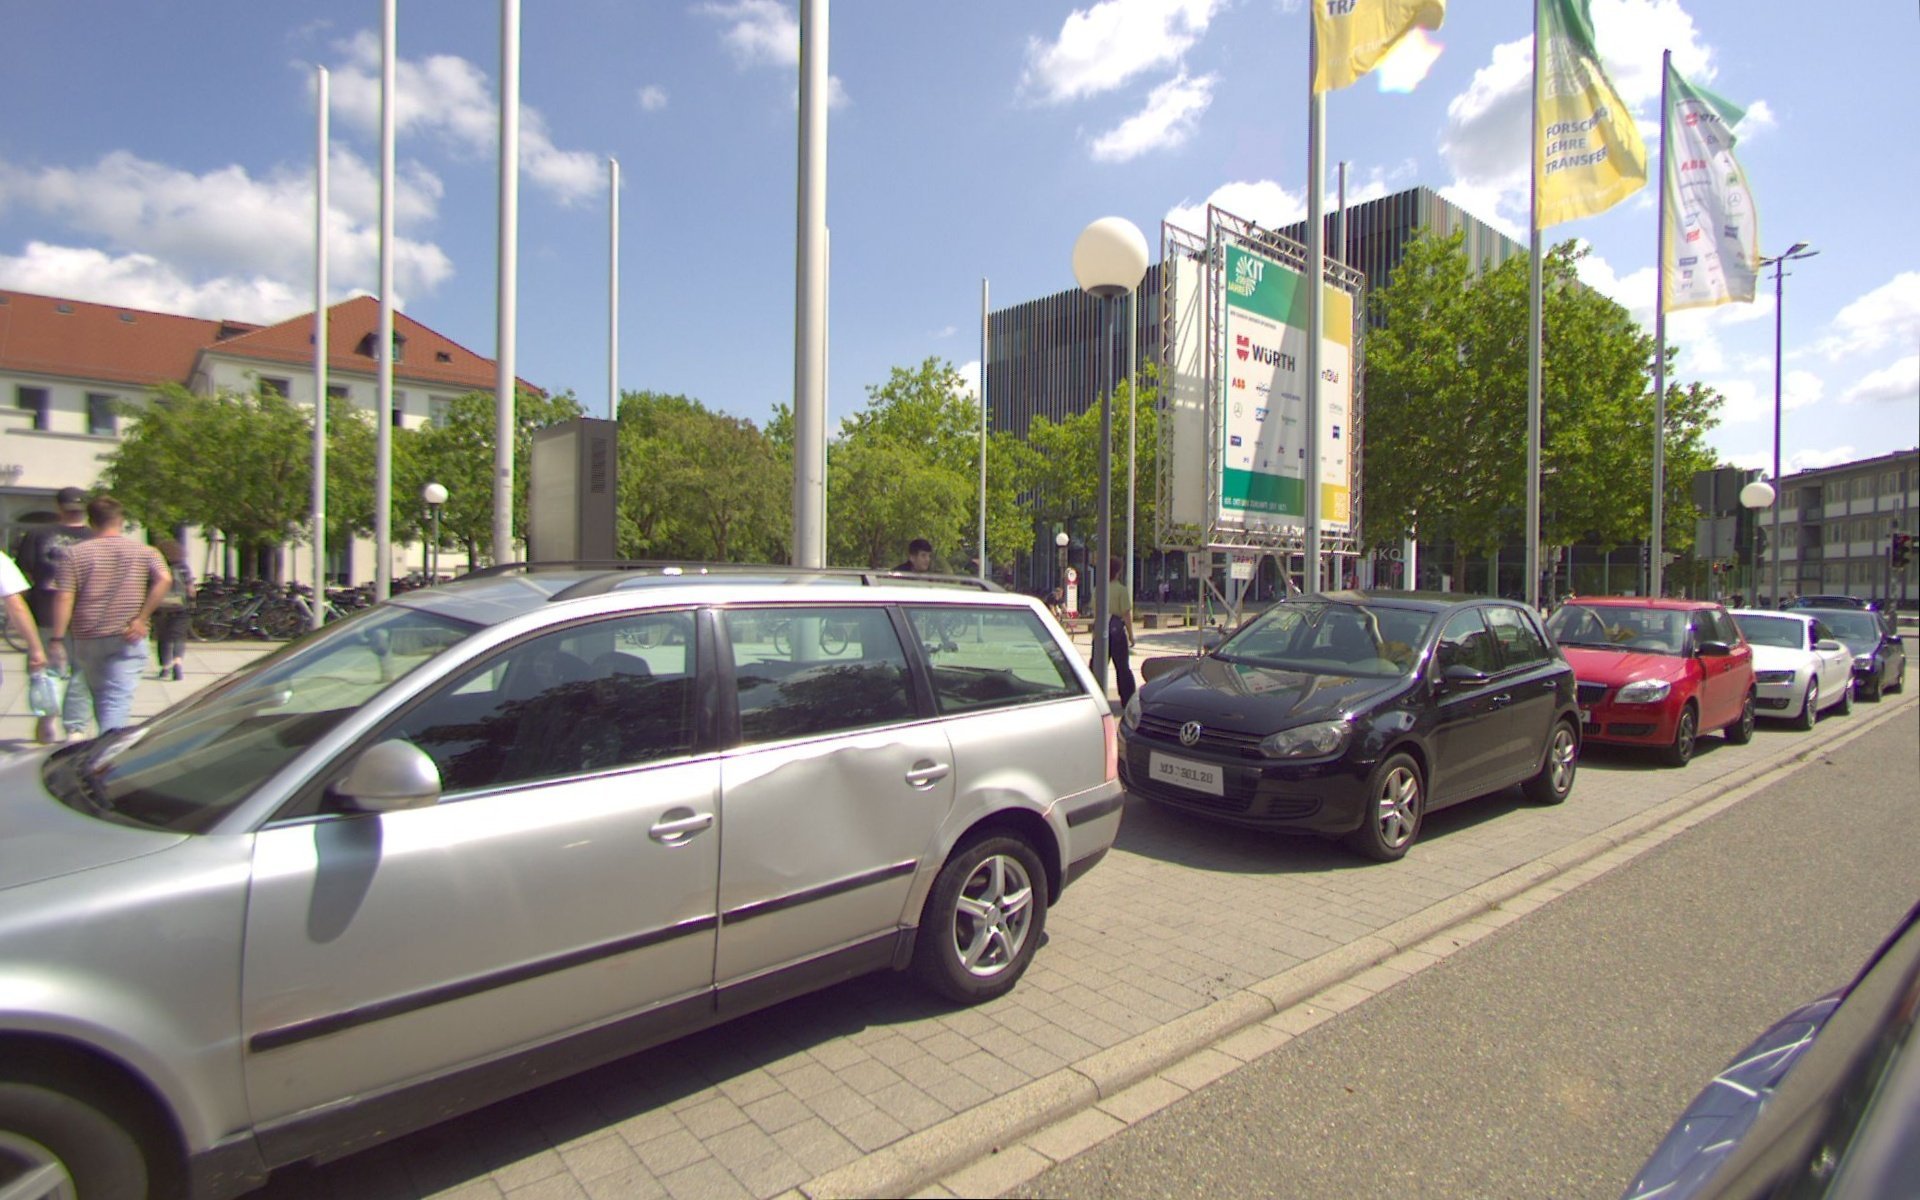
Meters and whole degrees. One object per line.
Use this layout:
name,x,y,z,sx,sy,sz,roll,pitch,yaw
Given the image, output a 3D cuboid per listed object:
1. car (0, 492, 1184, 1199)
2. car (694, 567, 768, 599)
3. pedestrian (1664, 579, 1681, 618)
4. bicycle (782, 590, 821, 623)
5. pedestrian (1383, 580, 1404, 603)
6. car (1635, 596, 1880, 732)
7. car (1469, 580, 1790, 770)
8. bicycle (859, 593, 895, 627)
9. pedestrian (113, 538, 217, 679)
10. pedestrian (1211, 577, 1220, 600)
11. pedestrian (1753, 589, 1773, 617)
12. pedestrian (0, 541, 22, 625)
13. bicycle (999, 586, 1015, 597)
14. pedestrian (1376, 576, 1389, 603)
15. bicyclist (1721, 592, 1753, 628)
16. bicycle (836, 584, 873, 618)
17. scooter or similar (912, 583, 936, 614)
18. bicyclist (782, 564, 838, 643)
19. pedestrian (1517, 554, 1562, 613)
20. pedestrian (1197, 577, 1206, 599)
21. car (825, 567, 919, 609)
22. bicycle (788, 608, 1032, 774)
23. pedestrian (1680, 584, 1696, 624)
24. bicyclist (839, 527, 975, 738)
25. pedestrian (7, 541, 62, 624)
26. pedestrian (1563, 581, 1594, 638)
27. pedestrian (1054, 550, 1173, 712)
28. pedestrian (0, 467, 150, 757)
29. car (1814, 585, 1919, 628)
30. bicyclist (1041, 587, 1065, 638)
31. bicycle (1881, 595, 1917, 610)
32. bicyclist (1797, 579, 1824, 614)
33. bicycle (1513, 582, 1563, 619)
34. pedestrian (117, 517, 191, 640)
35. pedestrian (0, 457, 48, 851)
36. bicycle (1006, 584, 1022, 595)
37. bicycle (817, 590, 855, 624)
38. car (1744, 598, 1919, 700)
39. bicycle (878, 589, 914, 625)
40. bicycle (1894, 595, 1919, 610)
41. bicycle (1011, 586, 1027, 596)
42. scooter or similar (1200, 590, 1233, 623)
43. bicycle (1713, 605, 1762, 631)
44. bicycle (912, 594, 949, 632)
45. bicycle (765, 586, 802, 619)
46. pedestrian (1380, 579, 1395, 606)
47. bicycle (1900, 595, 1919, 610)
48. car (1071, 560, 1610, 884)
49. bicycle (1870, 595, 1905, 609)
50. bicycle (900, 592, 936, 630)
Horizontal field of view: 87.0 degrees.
car,-1.288,0.545,3.263,4.491,1.548,1.721,0,3,-44
car,-13.967,-1.075,61.784,3.934,1.804,1.996,-3,3,-44
pedestrian,34.065,-0.084,48.385,0.629,1.864,0.474,1,2,35
bicycle,-5.408,0.211,34.566,0.596,1.113,1.757,0,1,18
pedestrian,31.707,-0.598,74.070,1.162,1.671,1.014,0,1,-40
car,10.723,0.714,13.492,4.361,1.417,1.722,0,4,-41
car,6.981,0.624,10.392,4.073,1.515,1.618,0,3,-40
bicycle,-2.830,0.317,34.578,0.596,1.112,1.757,0,1,18
pedestrian,-9.709,0.091,12.376,0.681,1.660,0.736,1,1,11
pedestrian,20.900,-0.933,82.774,0.552,1.864,0.554,1,2,42
pedestrian,52.467,0.212,66.104,0.833,1.812,0.673,1,0,20
pedestrian,-20.623,-0.365,21.590,0.709,1.768,0.629,0,2,24
bicycle,4.613,-0.850,99.169,1.754,0.967,0.432,-2,2,-41
pedestrian,29.661,-0.710,71.042,0.781,1.865,0.513,1,0,26
bicyclist,35.849,0.459,46.715,0.987,1.636,0.653,1,1,21
bicycle,-3.570,0.014,34.375,0.596,1.112,1.757,1,1,18
scooter or similar,-1.500,-0.081,42.479,0.279,1.248,1.282,2,2,35
bicyclist,-3.100,0.070,20.891,0.864,1.589,0.681,2,0,-41
pedestrian,19.390,-0.549,33.851,1.154,1.842,0.856,5,-1,-40
pedestrian,20.098,-0.988,84.211,0.552,1.864,0.554,1,2,42
car,-4.239,-0.629,48.084,1.872,1.888,4.931,-1,2,-43
bicycle,-0.473,0.647,8.202,0.887,1.092,2.153,1,1,-38
pedestrian,34.592,0.198,48.097,0.571,1.864,0.411,1,1,33
bicyclist,-0.434,0.232,8.133,0.651,1.583,0.932,1,1,-38
pedestrian,-20.240,-0.392,22.134,0.709,1.768,0.629,0,2,24
pedestrian,20.108,0.300,32.909,0.599,1.823,0.596,2,-1,-3
pedestrian,1.765,0.323,11.625,0.984,1.762,0.919,0,1,-41
pedestrian,-6.570,0.068,7.385,1.002,1.944,1.097,0,1,-40
car,35.661,0.246,38.409,1.965,1.548,4.709,0,1,-40
bicyclist,2.517,0.324,27.436,0.597,1.337,0.741,2,0,6
bicycle,66.228,0.173,71.352,1.752,0.967,0.525,1,3,22
bicyclist,38.459,-0.183,45.773,0.778,1.557,0.652,1,1,25
bicycle,19.368,0.017,33.891,1.857,1.086,0.817,4,-1,-40
pedestrian,-15.189,-0.404,19.086,0.627,2.256,0.848,0,2,22
pedestrian,-5.117,0.261,5.198,0.583,1.950,0.785,0,0,-39
bicycle,5.241,-1.022,98.477,1.754,0.967,0.432,-2,2,-41
bicycle,-4.238,0.224,34.693,0.596,1.113,1.757,0,0,18
car,15.055,0.718,17.248,4.862,1.417,1.722,0,3,-41
bicycle,-2.129,0.217,34.106,0.596,1.112,1.758,0,2,18
bicycle,65.934,0.181,70.097,1.752,0.967,0.525,1,3,22
bicycle,5.716,-0.864,97.966,1.754,0.967,0.432,-2,2,-41
scooter or similar,9.316,0.229,36.840,0.347,1.180,1.191,-2,3,-40
bicycle,35.853,0.830,46.710,1.651,1.138,0.690,1,1,22
bicycle,-0.920,0.398,31.976,0.596,1.112,1.758,0,2,18
bicycle,-6.475,0.068,37.200,0.596,1.112,1.758,0,2,18
pedestrian,30.434,-0.545,72.089,0.678,1.864,0.678,-1,2,-33
bicycle,65.558,0.173,69.175,1.752,0.967,0.525,1,3,22
car,2.746,0.566,6.880,3.930,1.548,1.723,0,3,-41
bicycle,66.540,0.157,72.637,1.752,0.967,0.525,1,3,22
bicycle,-1.342,0.336,32.832,0.596,1.112,1.758,0,2,18
